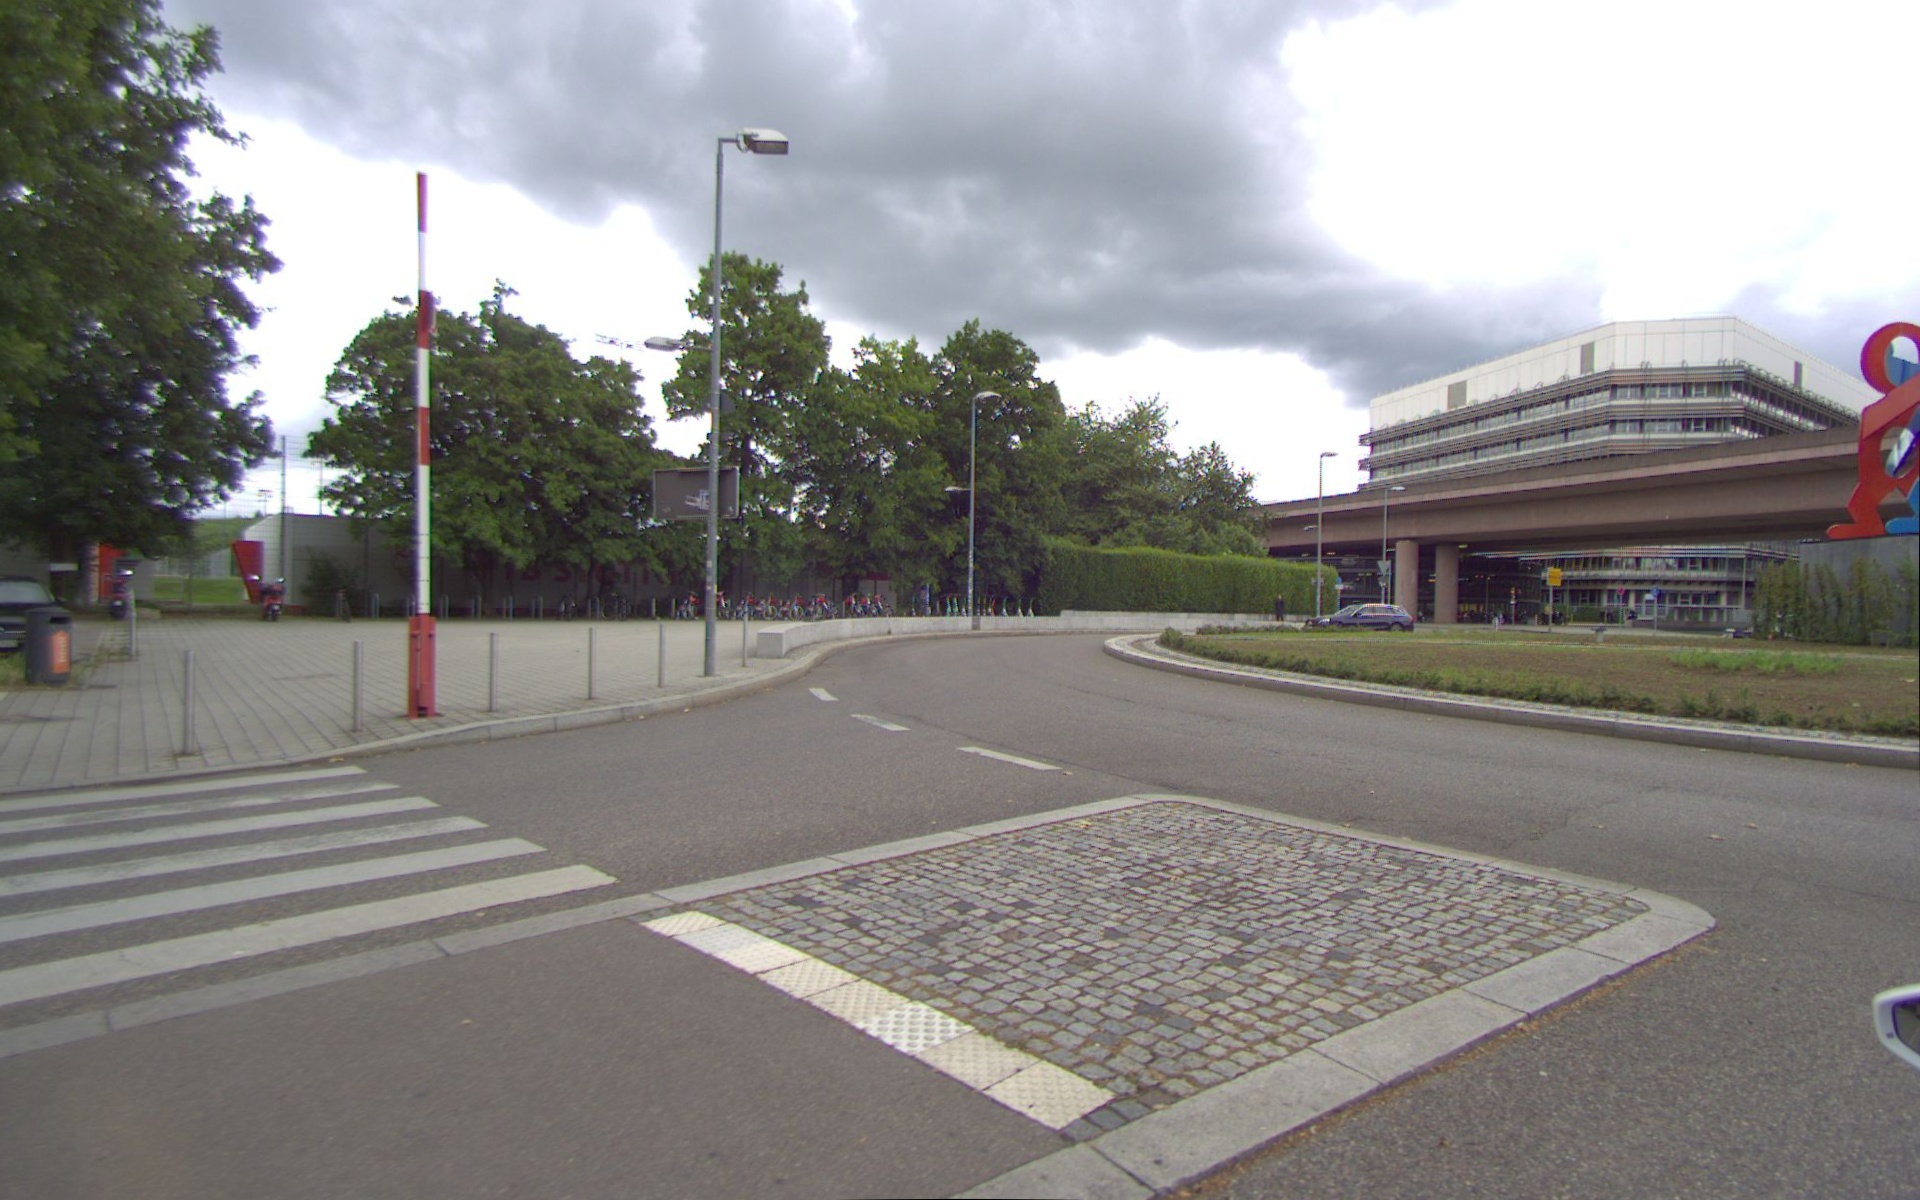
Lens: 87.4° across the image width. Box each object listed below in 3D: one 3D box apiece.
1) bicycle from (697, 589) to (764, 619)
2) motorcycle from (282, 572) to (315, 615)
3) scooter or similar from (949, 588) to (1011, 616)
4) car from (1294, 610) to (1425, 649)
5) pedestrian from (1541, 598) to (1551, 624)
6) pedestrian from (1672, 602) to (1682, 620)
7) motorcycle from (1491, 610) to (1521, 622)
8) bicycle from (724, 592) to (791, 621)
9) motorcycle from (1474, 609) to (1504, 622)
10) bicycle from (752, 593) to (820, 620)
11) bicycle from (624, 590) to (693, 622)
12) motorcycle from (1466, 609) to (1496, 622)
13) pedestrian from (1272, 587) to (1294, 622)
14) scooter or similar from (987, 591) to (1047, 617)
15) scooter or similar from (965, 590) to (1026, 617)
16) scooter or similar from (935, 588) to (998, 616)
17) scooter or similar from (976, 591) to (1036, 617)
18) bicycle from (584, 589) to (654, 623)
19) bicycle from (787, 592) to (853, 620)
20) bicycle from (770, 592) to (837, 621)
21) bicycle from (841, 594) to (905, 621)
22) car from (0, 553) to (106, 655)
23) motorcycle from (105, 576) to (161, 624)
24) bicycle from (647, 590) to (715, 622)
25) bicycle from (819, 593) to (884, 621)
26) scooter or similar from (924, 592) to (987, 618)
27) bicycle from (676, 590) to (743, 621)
[{"bbox_3d":[-9.342,0.158,40.804,3.139,1.112,0.770,2,1,35],"label":"bicycle"},{"bbox_3d":[-20.167,-0.221,30.661,0.765,1.238,3.639,1,1,-32],"label":"motorcycle"},{"bbox_3d":[0.967,0.109,49.525,3.139,1.266,0.770,2,1,35],"label":"scooter or similar"},{"bbox_3d":[17.192,1.263,43.364,4.839,1.480,1.999,2,1,-4],"label":"car"},{"bbox_3d":[46.597,0.866,79.845,0.581,2.040,0.596,2,1,39],"label":"pedestrian"},{"bbox_3d":[84.764,1.311,118.790,0.665,2.041,0.770,0,1,-39],"label":"pedestrian"},{"bbox_3d":[54.377,1.591,100.051,1.023,1.127,2.651,2,1,-18],"label":"motorcycle"},{"bbox_3d":[-8.381,0.244,41.432,3.139,1.112,0.770,2,0,35],"label":"bicycle"},{"bbox_3d":[52.616,1.537,99.852,1.023,1.127,2.651,2,1,-18],"label":"motorcycle"},{"bbox_3d":[-7.261,0.266,41.796,3.139,1.112,0.770,0,0,35],"label":"bicycle"},{"bbox_3d":[-11.504,0.216,38.295,3.140,1.112,0.770,3,1,36],"label":"bicycle"},{"bbox_3d":[51.454,1.504,99.316,1.023,1.127,2.651,2,1,-18],"label":"motorcycle"},{"bbox_3d":[19.320,0.251,60.099,1.030,2.040,0.596,2,1,40],"label":"pedestrian"},{"bbox_3d":[2.962,0.212,52.413,3.139,1.266,0.770,2,1,35],"label":"scooter or similar"},{"bbox_3d":[1.773,0.162,50.743,3.139,1.266,0.770,2,1,35],"label":"scooter or similar"},{"bbox_3d":[0.295,0.076,48.628,3.139,1.266,0.770,2,1,35],"label":"scooter or similar"},{"bbox_3d":[2.347,0.198,51.701,3.139,1.266,0.770,2,1,35],"label":"scooter or similar"},{"bbox_3d":[-12.493,0.197,36.739,3.140,1.112,0.770,3,1,36],"label":"bicycle"},{"bbox_3d":[-6.105,0.248,43.738,3.139,1.112,0.770,2,1,35],"label":"bicycle"},{"bbox_3d":[-6.690,0.262,42.823,3.139,1.112,0.770,2,1,35],"label":"bicycle"},{"bbox_3d":[-3.957,0.328,45.370,3.139,1.112,0.770,2,1,35],"label":"bicycle"},{"bbox_3d":[-16.698,0.042,17.556,3.942,1.627,2.220,1,0,42],"label":"car"},{"bbox_3d":[-23.207,-0.035,28.249,0.765,1.238,3.639,1,1,-32],"label":"motorcycle"},{"bbox_3d":[-10.869,0.232,39.034,3.140,1.112,0.770,3,1,36],"label":"bicycle"},{"bbox_3d":[-4.830,0.311,44.537,3.139,1.112,0.770,2,1,35],"label":"bicycle"},{"bbox_3d":[-0.233,0.227,47.845,3.139,1.112,0.770,2,1,35],"label":"scooter or similar"},{"bbox_3d":[-10.030,0.208,40.114,3.140,1.112,0.770,3,1,36],"label":"bicycle"}]
